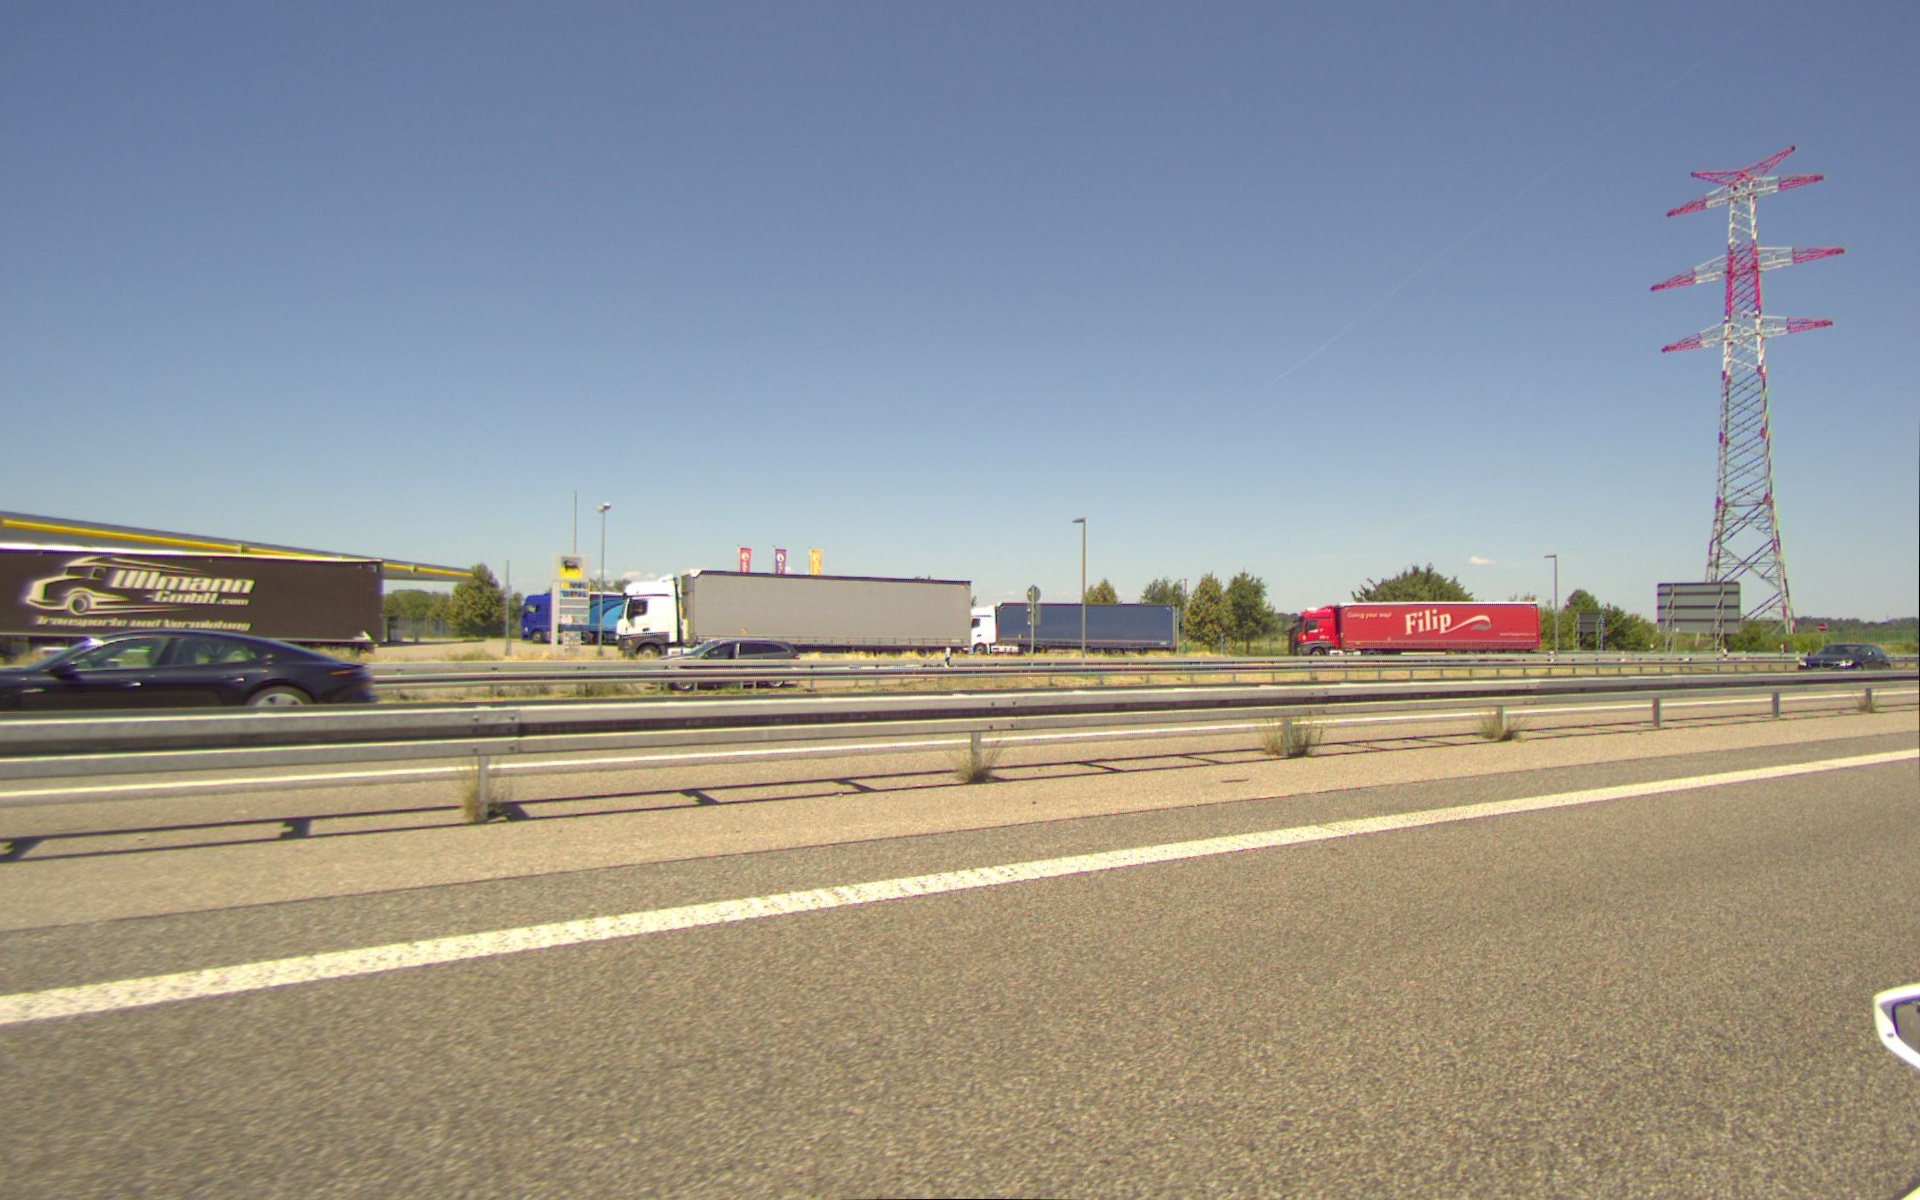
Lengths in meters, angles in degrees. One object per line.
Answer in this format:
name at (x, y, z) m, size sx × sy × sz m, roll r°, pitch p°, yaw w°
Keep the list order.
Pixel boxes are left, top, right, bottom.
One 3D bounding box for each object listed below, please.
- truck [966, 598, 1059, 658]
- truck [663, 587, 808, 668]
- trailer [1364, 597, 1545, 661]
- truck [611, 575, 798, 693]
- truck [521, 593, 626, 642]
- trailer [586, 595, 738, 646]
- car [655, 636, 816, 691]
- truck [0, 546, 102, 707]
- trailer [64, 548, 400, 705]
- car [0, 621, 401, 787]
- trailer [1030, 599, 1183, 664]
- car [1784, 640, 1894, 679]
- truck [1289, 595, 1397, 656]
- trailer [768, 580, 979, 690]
truck at (4.115, 2.084, 77.484) m, size 6.512 × 4.308 × 3.176 m, roll 2°, pitch 1°, yaw 16°
truck at (-12.943, 1.595, 58.101) m, size 7.531 × 4.415 × 3.287 m, roll 2°, pitch 1°, yaw -29°
trailer at (35.019, 2.005, 71.498) m, size 11.086 × 4.109 × 3.132 m, roll 2°, pitch 1°, yaw 4°
truck at (-11.420, 1.467, 44.970) m, size 7.526 × 4.915 × 3.289 m, roll 2°, pitch 1°, yaw -27°
truck at (-30.117, 1.358, 78.530) m, size 6.932 × 3.536 × 2.983 m, roll 2°, pitch 1°, yaw -1°
trailer at (-23.208, 1.572, 78.602) m, size 10.846 × 3.568 × 3.002 m, roll 2°, pitch 1°, yaw 0°
car at (-6.868, 1.913, 30.849) m, size 4.457 × 1.509 × 1.803 m, roll 2°, pitch 0°, yaw -31°
truck at (-31.988, 0.725, 31.026) m, size 7.781 × 4.915 × 3.012 m, roll 2°, pitch 1°, yaw -29°
trailer at (-24.778, 0.913, 34.999) m, size 9.022 × 4.915 × 3.020 m, roll 2°, pitch 1°, yaw -29°
car at (-9.579, 1.147, 12.062) m, size 4.959 × 1.669 × 1.962 m, roll 2°, pitch 0°, yaw -31°
trailer at (10.997, 2.303, 75.411) m, size 10.843 × 4.323 × 3.167 m, roll 2°, pitch 1°, yaw 18°
car at (34.128, 2.292, 38.968) m, size 4.493 × 1.416 × 1.860 m, roll 2°, pitch -3°, yaw -30°
truck at (27.364, 1.768, 72.063) m, size 6.511 × 4.103 × 3.129 m, roll 2°, pitch 1°, yaw 4°
trailer at (-4.118, 1.670, 48.566) m, size 9.555 × 4.940 × 3.290 m, roll 2°, pitch 1°, yaw -26°
